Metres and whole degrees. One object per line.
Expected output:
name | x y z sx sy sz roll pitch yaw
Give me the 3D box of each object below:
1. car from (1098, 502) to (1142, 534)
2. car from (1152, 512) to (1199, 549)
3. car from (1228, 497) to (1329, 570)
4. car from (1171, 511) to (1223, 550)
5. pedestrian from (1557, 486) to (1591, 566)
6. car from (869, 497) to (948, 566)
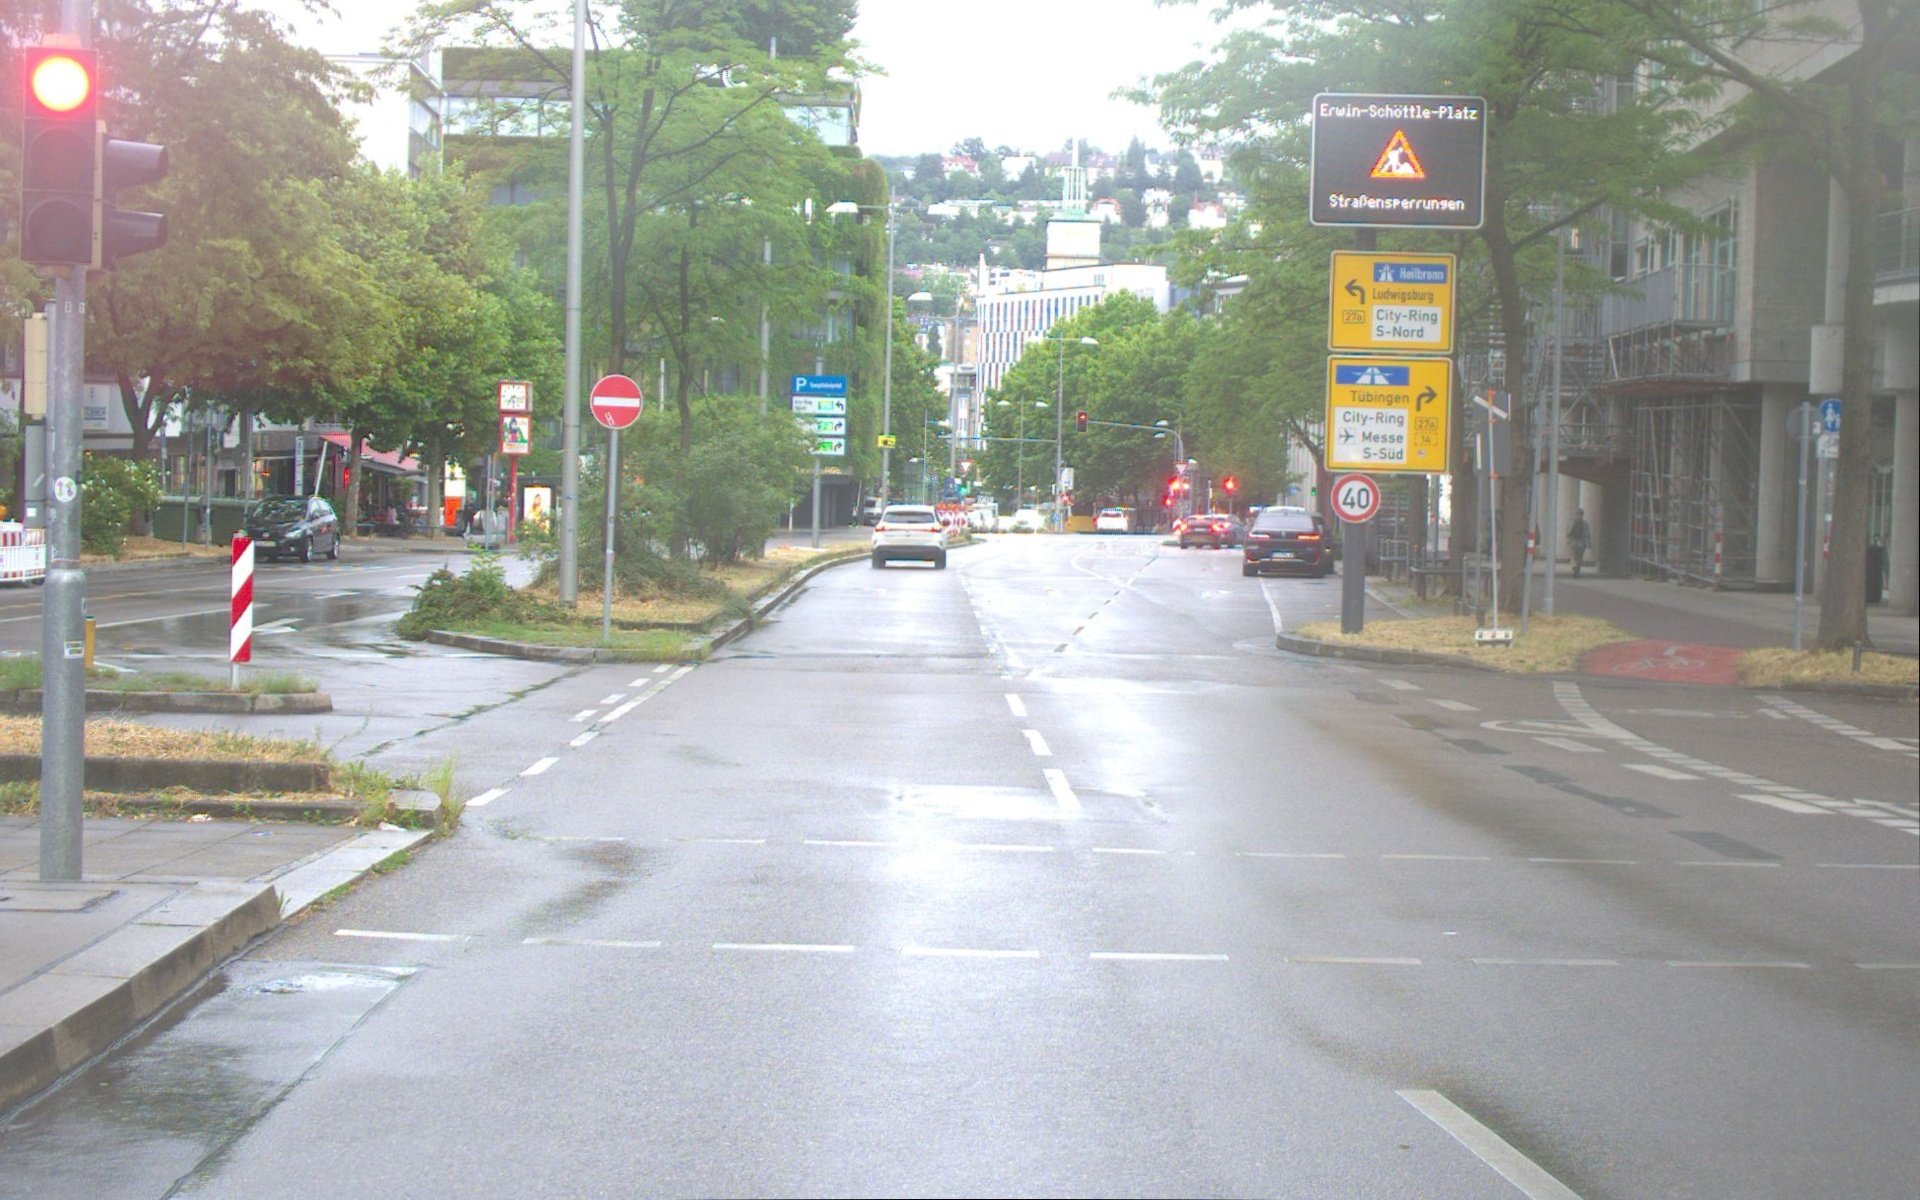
car | 9.674 -4.961 208.201 1.994 1.752 3.998 2 1 12
car | 10.436 -3.354 166.809 1.993 1.730 4.000 1 0 -1
car | 7.750 -1.626 83.432 2.339 1.685 3.999 1 2 6
car | 10.702 -3.131 155.412 1.993 1.718 4.000 1 0 -1
pedestrian | 14.862 -1.795 83.179 0.775 1.914 0.702 1 0 10
car | -1.345 -1.753 88.225 1.828 1.634 4.301 2 1 -3
